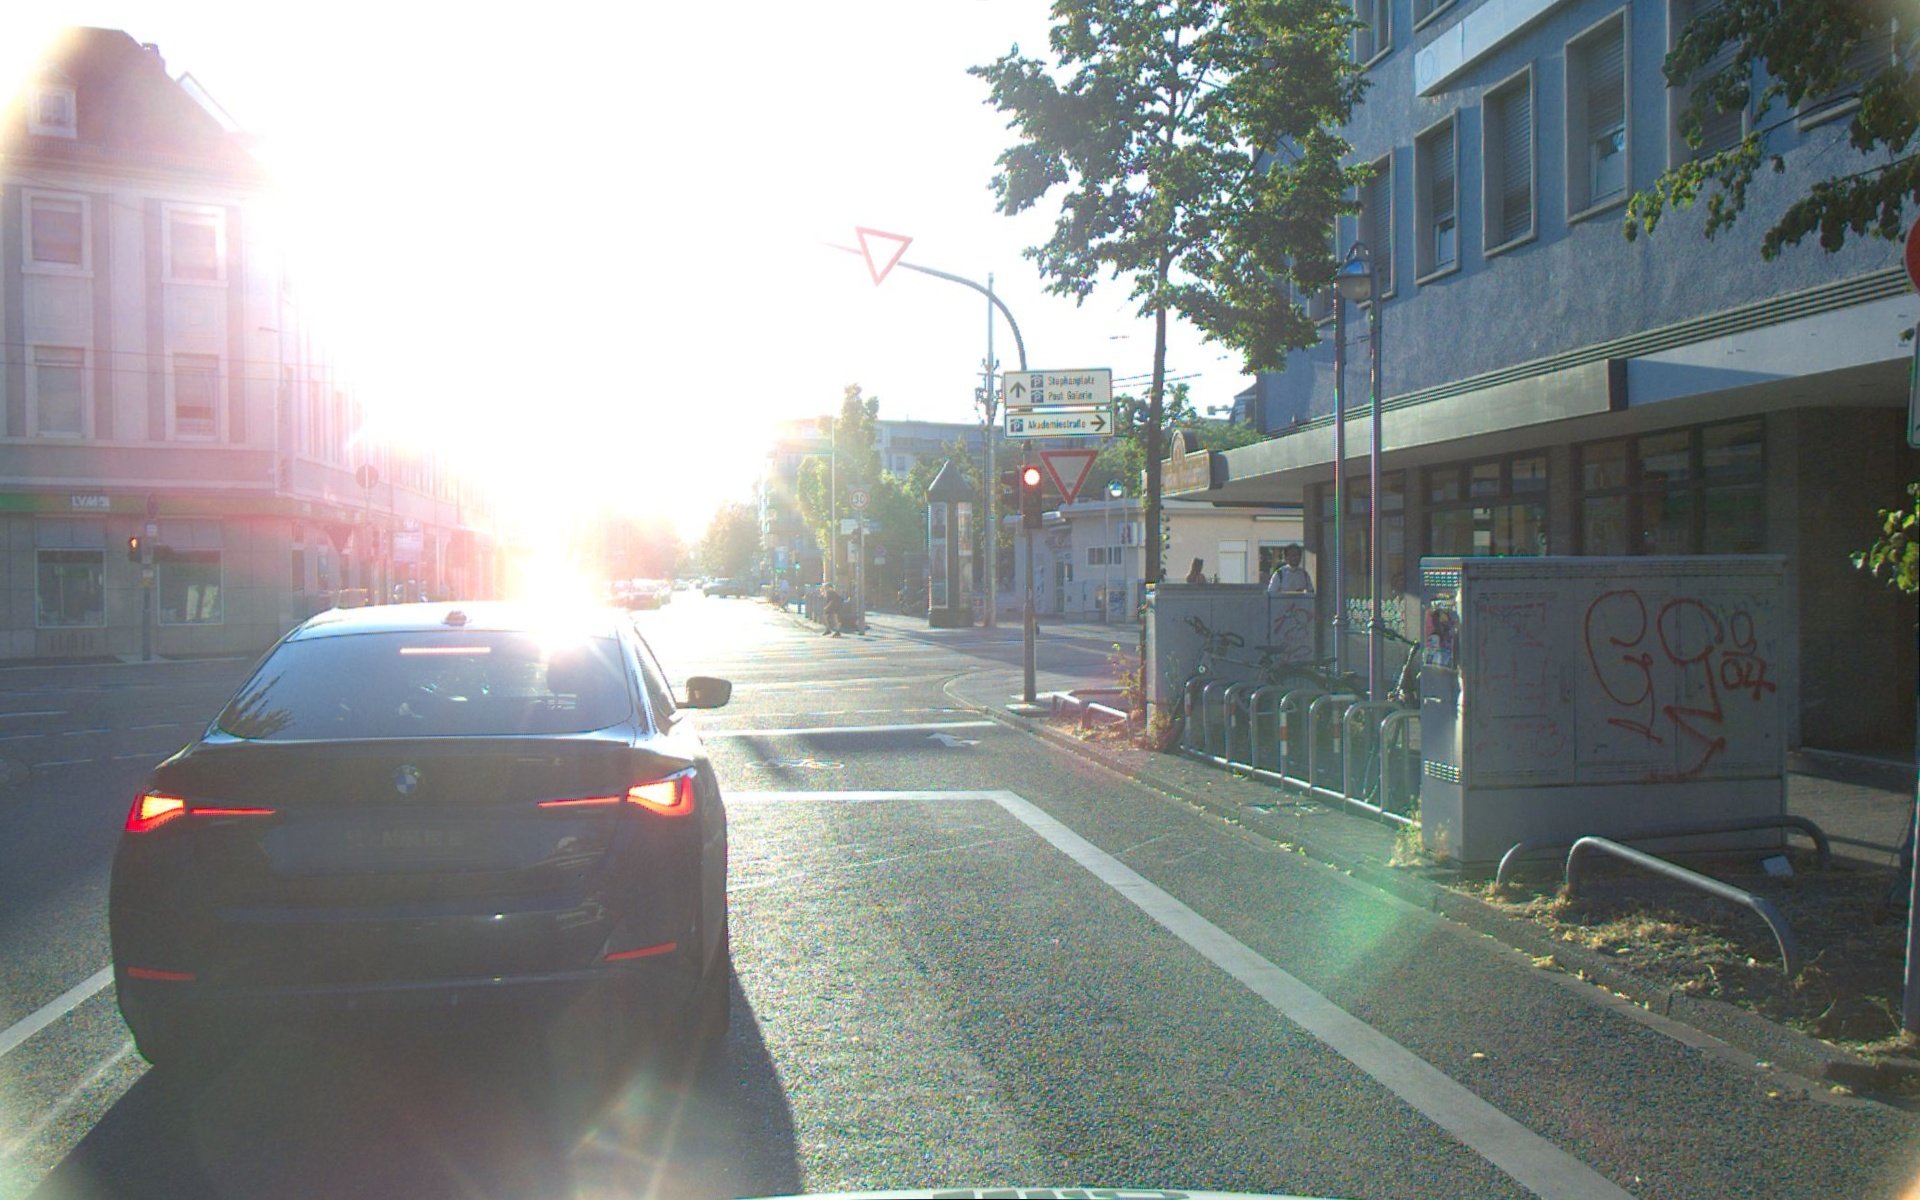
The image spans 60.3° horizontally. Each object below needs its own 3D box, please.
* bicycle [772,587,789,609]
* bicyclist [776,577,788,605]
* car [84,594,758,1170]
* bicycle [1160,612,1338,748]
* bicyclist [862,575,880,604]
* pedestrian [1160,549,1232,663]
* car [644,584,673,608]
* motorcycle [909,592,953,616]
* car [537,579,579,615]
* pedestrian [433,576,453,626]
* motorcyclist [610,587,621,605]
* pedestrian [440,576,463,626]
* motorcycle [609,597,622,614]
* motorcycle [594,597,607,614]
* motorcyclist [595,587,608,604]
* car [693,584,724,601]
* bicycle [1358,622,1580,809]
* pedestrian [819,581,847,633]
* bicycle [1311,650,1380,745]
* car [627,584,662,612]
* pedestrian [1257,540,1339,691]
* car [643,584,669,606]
[{"bbox_3d":[-9.806,-0.093,90.433,0.541,1.179,2.134,1,0,-17],"label":"bicycle"},{"bbox_3d":[-9.715,-0.477,90.129,0.541,1.507,0.719,1,0,-17],"label":"bicyclist"},{"bbox_3d":[-1.747,0.717,6.457,1.705,1.453,4.214,0,0,-10],"label":"car"},{"bbox_3d":[2.650,0.724,15.188,1.582,1.191,0.318,-1,0,-7],"label":"bicycle"},{"bbox_3d":[-4.748,-0.579,88.354,0.865,1.532,0.612,1,0,3],"label":"bicyclist"},{"bbox_3d":[4.109,0.095,28.741,0.990,1.892,0.634,-4,2,-29],"label":"pedestrian"},{"bbox_3d":[-20.569,-0.294,112.916,1.784,1.545,3.992,-1,1,-9],"label":"car"},{"bbox_3d":[-1.183,0.154,67.857,1.644,0.955,0.851,-1,1,-20],"label":"motorcycle"},{"bbox_3d":[-21.075,-0.186,86.786,1.784,1.819,3.992,-1,1,-9],"label":"car"},{"bbox_3d":[-19.862,0.032,63.525,0.631,1.909,0.630,1,0,-9],"label":"pedestrian"},{"bbox_3d":[-19.446,-0.233,93.369,0.564,1.013,0.701,1,0,-9],"label":"motorcyclist"},{"bbox_3d":[-19.759,0.030,64.267,0.667,1.909,0.613,1,0,43],"label":"pedestrian"},{"bbox_3d":[-19.473,0.307,93.467,0.564,0.931,2.196,1,0,-8],"label":"motorcycle"},{"bbox_3d":[-20.371,0.290,93.832,0.564,0.931,2.196,1,0,-8],"label":"motorcycle"},{"bbox_3d":[-20.357,-0.250,93.840,0.564,0.931,2.196,1,0,-8],"label":"motorcyclist"},{"bbox_3d":[-24.002,-0.704,158.238,1.779,1.545,4.004,-1,1,9],"label":"car"},{"bbox_3d":[3.488,0.788,11.344,1.413,1.241,0.383,1,0,-8],"label":"bicycle"},{"bbox_3d":[-3.845,0.214,49.974,0.723,1.555,0.469,1,0,-24],"label":"pedestrian"},{"bbox_3d":[3.577,0.896,15.392,0.244,0.810,1.114,1,0,-7],"label":"bicycle"},{"bbox_3d":[-17.950,-0.121,94.278,1.784,1.545,3.992,-1,1,-9],"label":"car"},{"bbox_3d":[4.289,0.187,21.014,0.820,1.874,0.677,-1,0,-9],"label":"pedestrian"},{"bbox_3d":[-22.596,-0.382,123.005,1.784,1.545,3.992,-1,1,-9],"label":"car"}]
